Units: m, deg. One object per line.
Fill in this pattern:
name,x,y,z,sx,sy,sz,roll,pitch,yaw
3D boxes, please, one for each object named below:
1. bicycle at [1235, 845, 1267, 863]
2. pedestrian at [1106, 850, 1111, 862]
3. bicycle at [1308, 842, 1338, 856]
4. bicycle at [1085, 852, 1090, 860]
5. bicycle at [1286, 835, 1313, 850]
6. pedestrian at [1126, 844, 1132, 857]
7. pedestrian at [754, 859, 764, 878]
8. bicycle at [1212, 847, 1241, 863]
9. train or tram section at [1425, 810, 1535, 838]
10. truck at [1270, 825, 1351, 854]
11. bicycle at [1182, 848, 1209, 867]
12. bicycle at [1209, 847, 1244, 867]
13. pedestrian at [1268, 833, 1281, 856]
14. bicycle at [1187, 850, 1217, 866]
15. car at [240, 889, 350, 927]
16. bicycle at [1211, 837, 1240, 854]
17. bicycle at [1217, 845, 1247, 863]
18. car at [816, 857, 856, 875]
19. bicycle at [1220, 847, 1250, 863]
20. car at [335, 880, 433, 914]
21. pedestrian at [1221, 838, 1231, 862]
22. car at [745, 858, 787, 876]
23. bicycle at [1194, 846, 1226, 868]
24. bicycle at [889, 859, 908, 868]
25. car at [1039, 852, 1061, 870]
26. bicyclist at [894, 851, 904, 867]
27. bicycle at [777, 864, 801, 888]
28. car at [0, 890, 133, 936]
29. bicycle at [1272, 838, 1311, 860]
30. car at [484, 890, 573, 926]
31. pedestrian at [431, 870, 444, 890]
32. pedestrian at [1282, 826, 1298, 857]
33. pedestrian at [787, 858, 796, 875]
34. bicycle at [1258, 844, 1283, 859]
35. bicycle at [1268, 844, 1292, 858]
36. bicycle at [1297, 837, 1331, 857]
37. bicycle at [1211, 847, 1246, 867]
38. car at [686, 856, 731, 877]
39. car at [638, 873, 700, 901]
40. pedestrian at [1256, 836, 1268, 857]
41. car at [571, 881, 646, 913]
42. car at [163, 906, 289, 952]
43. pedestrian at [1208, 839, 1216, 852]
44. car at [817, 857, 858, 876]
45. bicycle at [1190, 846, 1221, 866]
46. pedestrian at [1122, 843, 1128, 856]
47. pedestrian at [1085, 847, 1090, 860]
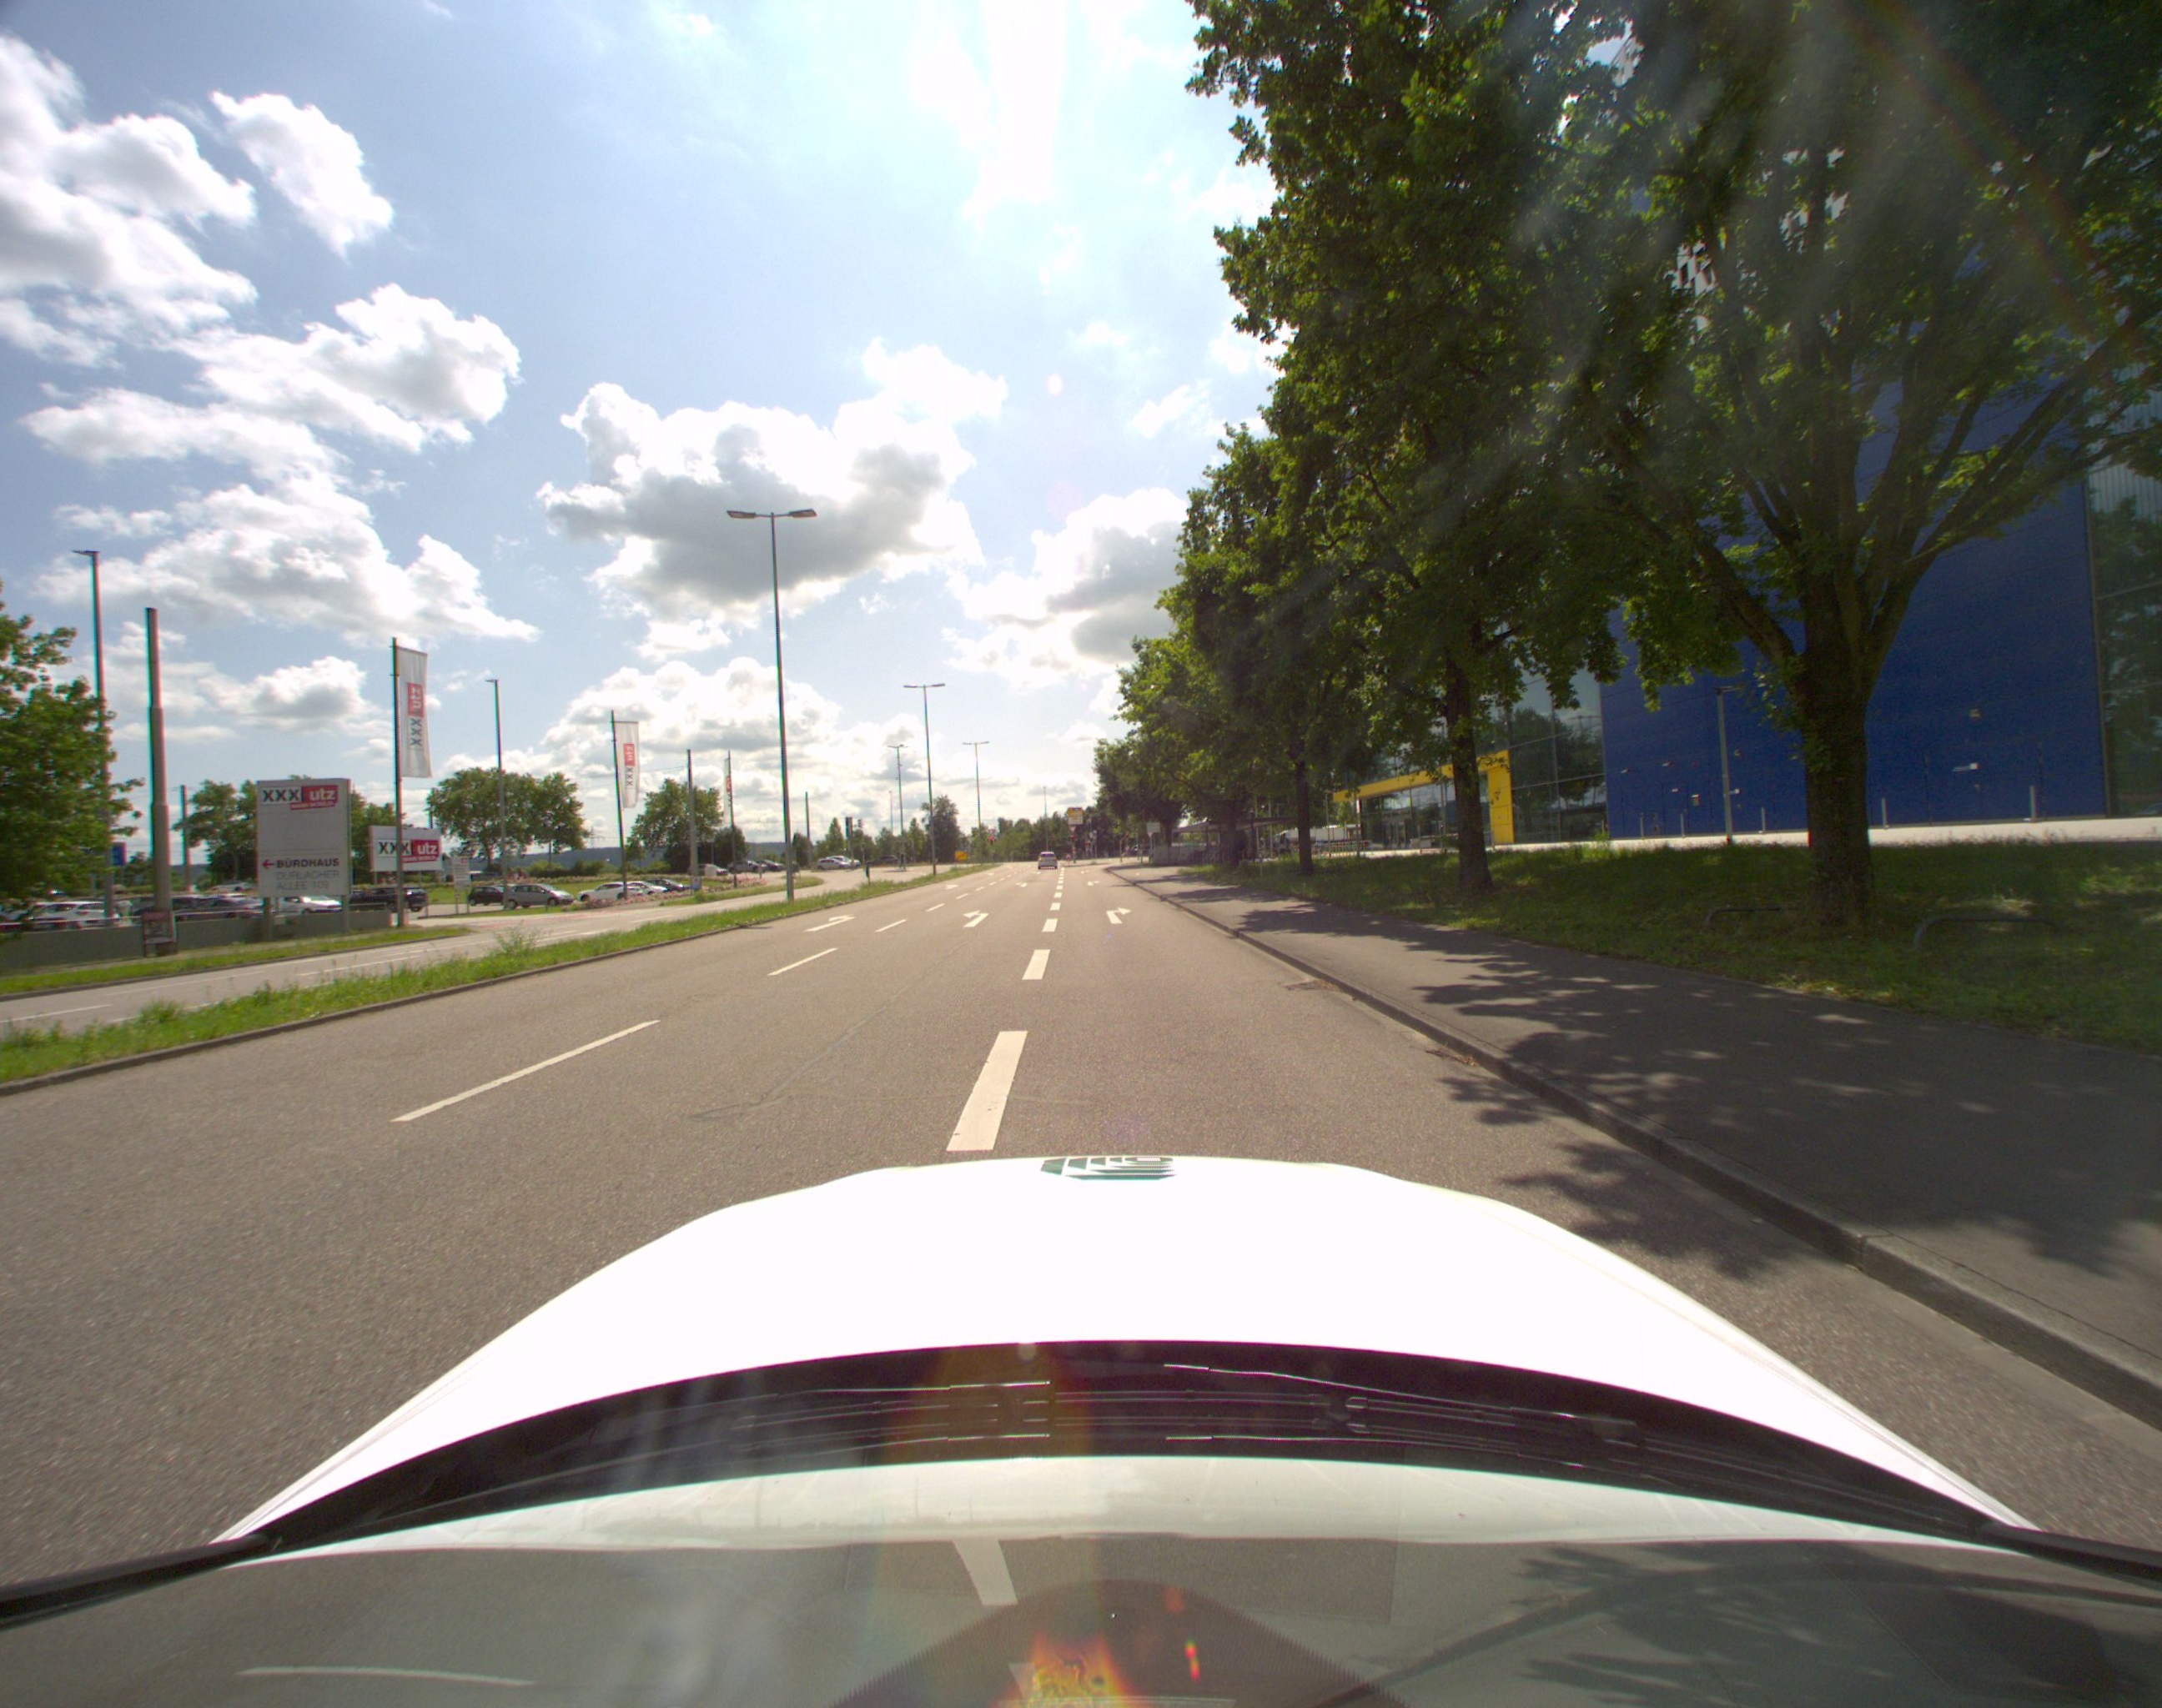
bicycle,10.641,0.001,51.087,1.859,0.994,0.423,-5,-1,-6
pedestrian,3.729,0.262,111.400,0.521,1.721,0.731,-4,0,3
bicycle,16.499,-0.338,55.552,1.856,0.881,0.470,-4,0,-1
bicycle,0.951,0.258,115.242,0.617,1.087,1.722,-3,0,1
bicycle,16.560,-0.877,61.665,1.859,0.994,0.423,-5,-1,-6
pedestrian,6.742,-0.456,114.009,0.673,1.748,0.637,-3,2,1
pedestrian,-31.771,1.467,80.359,0.870,1.837,0.790,0,-1,-30
bicycle,10.175,0.064,56.964,1.856,1.034,0.424,-4,0,0
train or tram section,55.248,-4.178,112.776,14.030,3.186,3.042,-2,-1,-5
truck,36.503,-2.289,129.729,11.923,4.104,2.951,-3,0,-1
bicycle,8.153,0.240,57.998,1.859,1.187,0.423,-4,0,-6
bicycle,8.473,0.181,47.409,1.859,0.994,0.423,-5,0,-6
pedestrian,17.593,-0.852,73.939,1.000,2.072,0.977,-3,-1,13
bicycle,8.089,0.267,54.499,1.859,0.994,0.423,-4,0,-6
car,-46.331,3.182,48.089,4.337,1.839,1.999,-3,0,-2
bicycle,9.875,-0.565,55.703,1.859,0.994,0.423,-4,0,-6
bicycle,10.202,0.015,55.051,1.859,1.116,0.423,-4,-1,-6
car,-30.408,1.509,101.155,4.337,1.989,1.999,-3,0,-2
bicycle,10.269,0.066,54.403,1.859,0.995,0.423,-4,-2,-6
car,-45.642,2.786,53.393,4.570,1.989,1.998,-2,-1,-2
pedestrian,10.280,-0.282,57.719,0.543,1.662,0.478,-3,0,-3
car,-39.208,1.621,101.346,4.337,1.989,1.999,-3,0,-2
bicycle,8.056,0.185,50.835,1.890,1.170,0.424,-4,0,0
bicycle,-20.897,1.056,93.186,2.011,0.999,0.622,0,0,-2
car,-2.756,0.622,73.028,1.888,1.470,3.832,-1,0,0
bicyclist,-20.794,0.558,93.197,0.918,1.846,0.611,-3,0,-2
bicycle,-22.704,1.701,63.392,1.014,1.675,2.048,-4,0,-1
car,-50.793,2.928,40.698,4.337,1.989,1.998,-3,-2,-2
bicycle,11.904,-0.277,46.074,1.988,1.108,0.581,-5,-1,37
car,-36.093,3.505,53.298,4.337,1.989,1.999,-3,0,-2
pedestrian,-68.807,2.776,87.039,0.561,2.013,0.779,-4,0,20
pedestrian,11.980,-0.738,46.754,0.626,1.721,0.528,-5,-2,35
pedestrian,-30.869,1.350,86.820,0.800,1.837,0.859,0,-1,-30
bicycle,15.707,-0.235,67.425,1.926,1.108,0.501,-4,-2,-20
bicycle,16.170,-0.245,66.227,1.856,0.994,0.424,-4,0,0
bicycle,16.179,-0.477,56.707,2.127,1.229,0.723,-4,0,8
bicycle,8.512,0.176,46.921,1.859,0.994,0.423,-5,0,-6
car,-41.094,1.413,89.837,3.957,2.013,2.008,-4,0,15
car,-33.520,2.672,66.408,3.990,2.013,1.992,-3,0,-12
pedestrian,16.351,-0.671,73.599,1.000,1.902,0.977,-3,-2,13
car,-35.306,3.205,60.914,4.337,1.989,1.999,-3,0,-2
car,-45.373,3.977,43.284,4.337,1.989,1.999,-3,0,-2
pedestrian,18.464,-1.153,115.155,0.924,1.807,0.735,-3,0,-2
car,-29.437,1.478,98.573,4.337,1.989,1.999,-3,0,-2
bicycle,8.090,0.125,53.064,1.859,1.187,0.423,-4,0,-6
pedestrian,6.159,-0.602,114.867,0.703,1.721,0.601,-4,0,1
pedestrian,0.936,-0.101,115.208,0.609,1.769,0.672,-3,0,0
